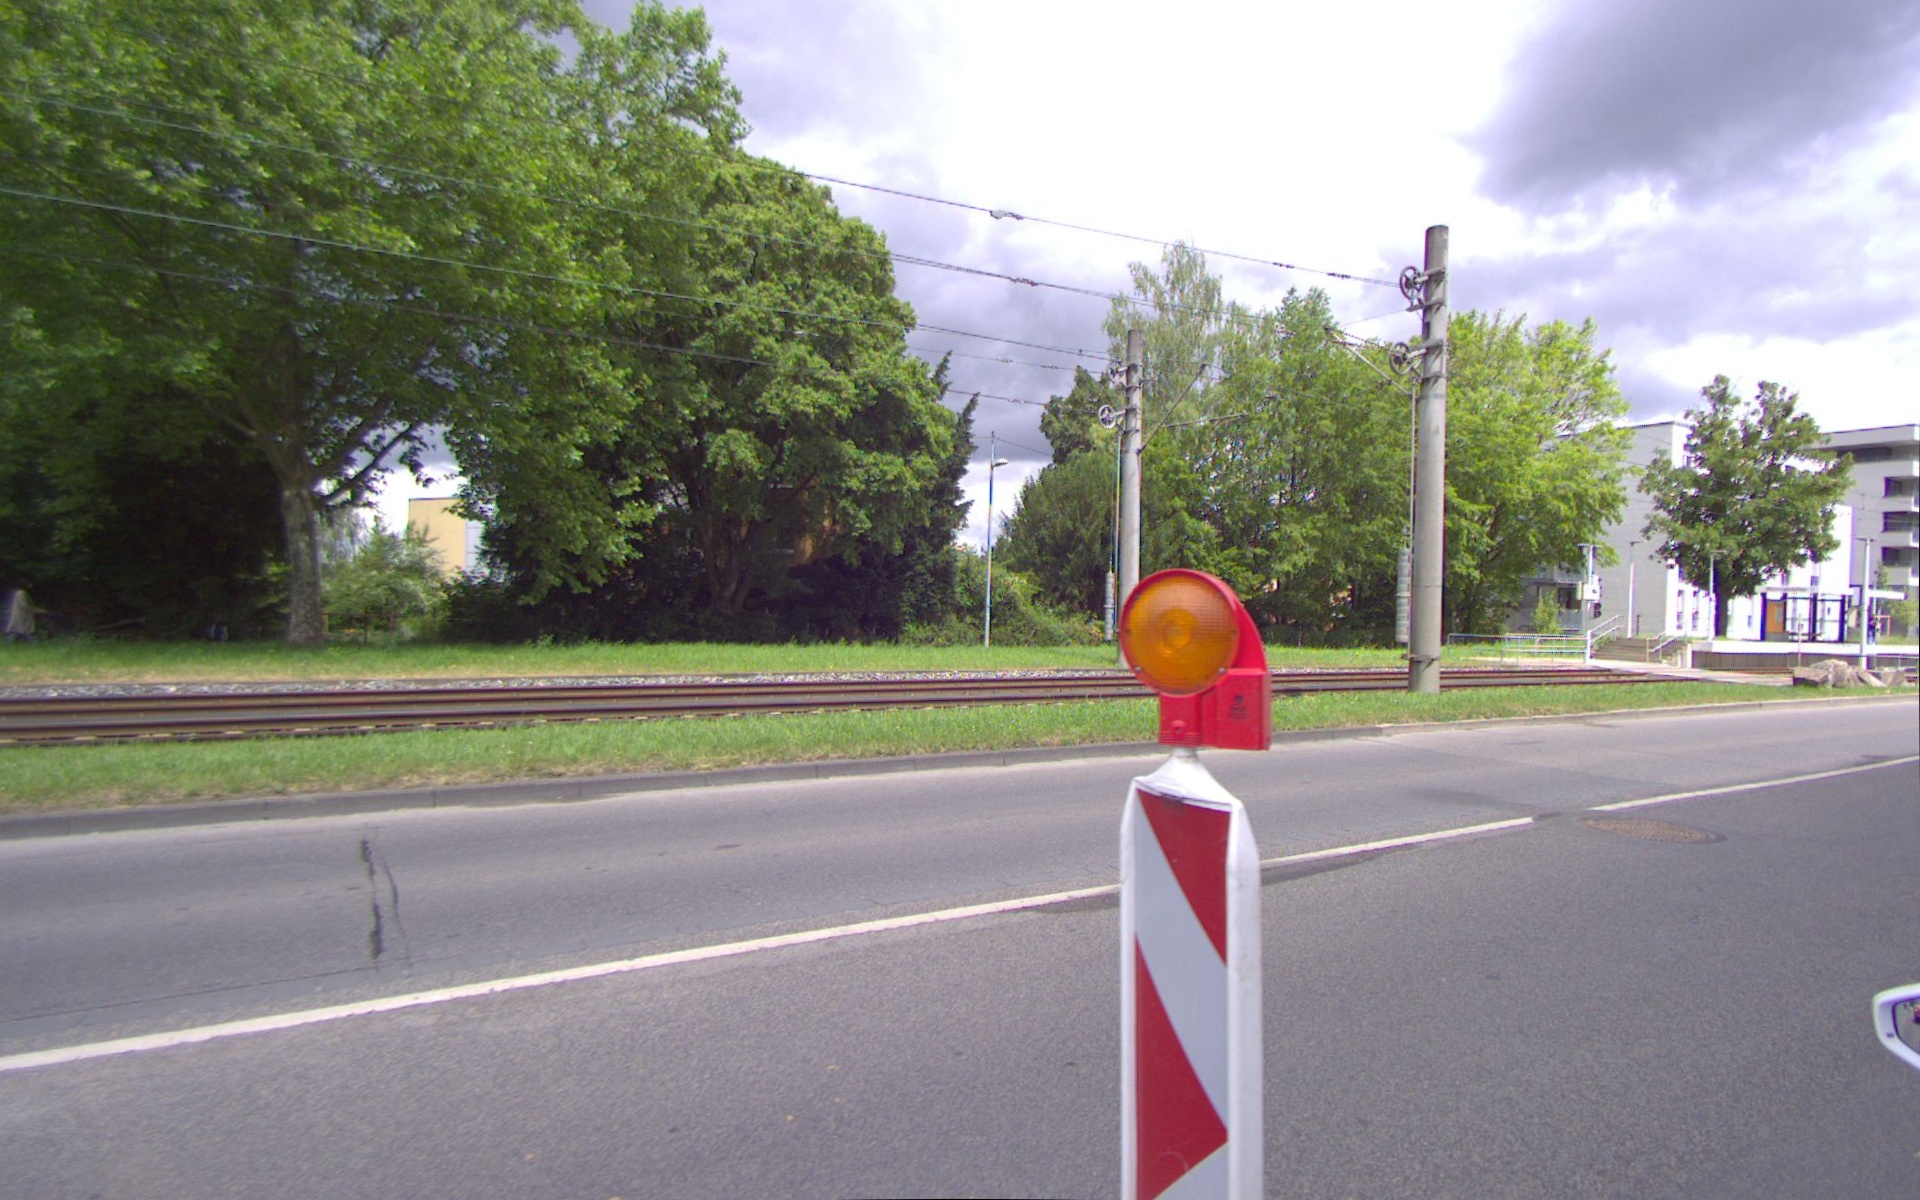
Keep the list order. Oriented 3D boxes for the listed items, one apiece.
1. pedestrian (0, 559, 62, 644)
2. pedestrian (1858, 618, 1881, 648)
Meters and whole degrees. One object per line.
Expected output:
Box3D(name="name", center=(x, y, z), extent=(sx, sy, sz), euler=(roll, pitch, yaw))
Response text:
Box3D(name="pedestrian", center=(-22.184, 0.030, 23.627), extent=(1.347, 1.959, 1.029), euler=(1, 0, -29))
Box3D(name="pedestrian", center=(48.101, 1.731, 53.130), extent=(0.540, 1.551, 0.738), euler=(2, 0, -27))
